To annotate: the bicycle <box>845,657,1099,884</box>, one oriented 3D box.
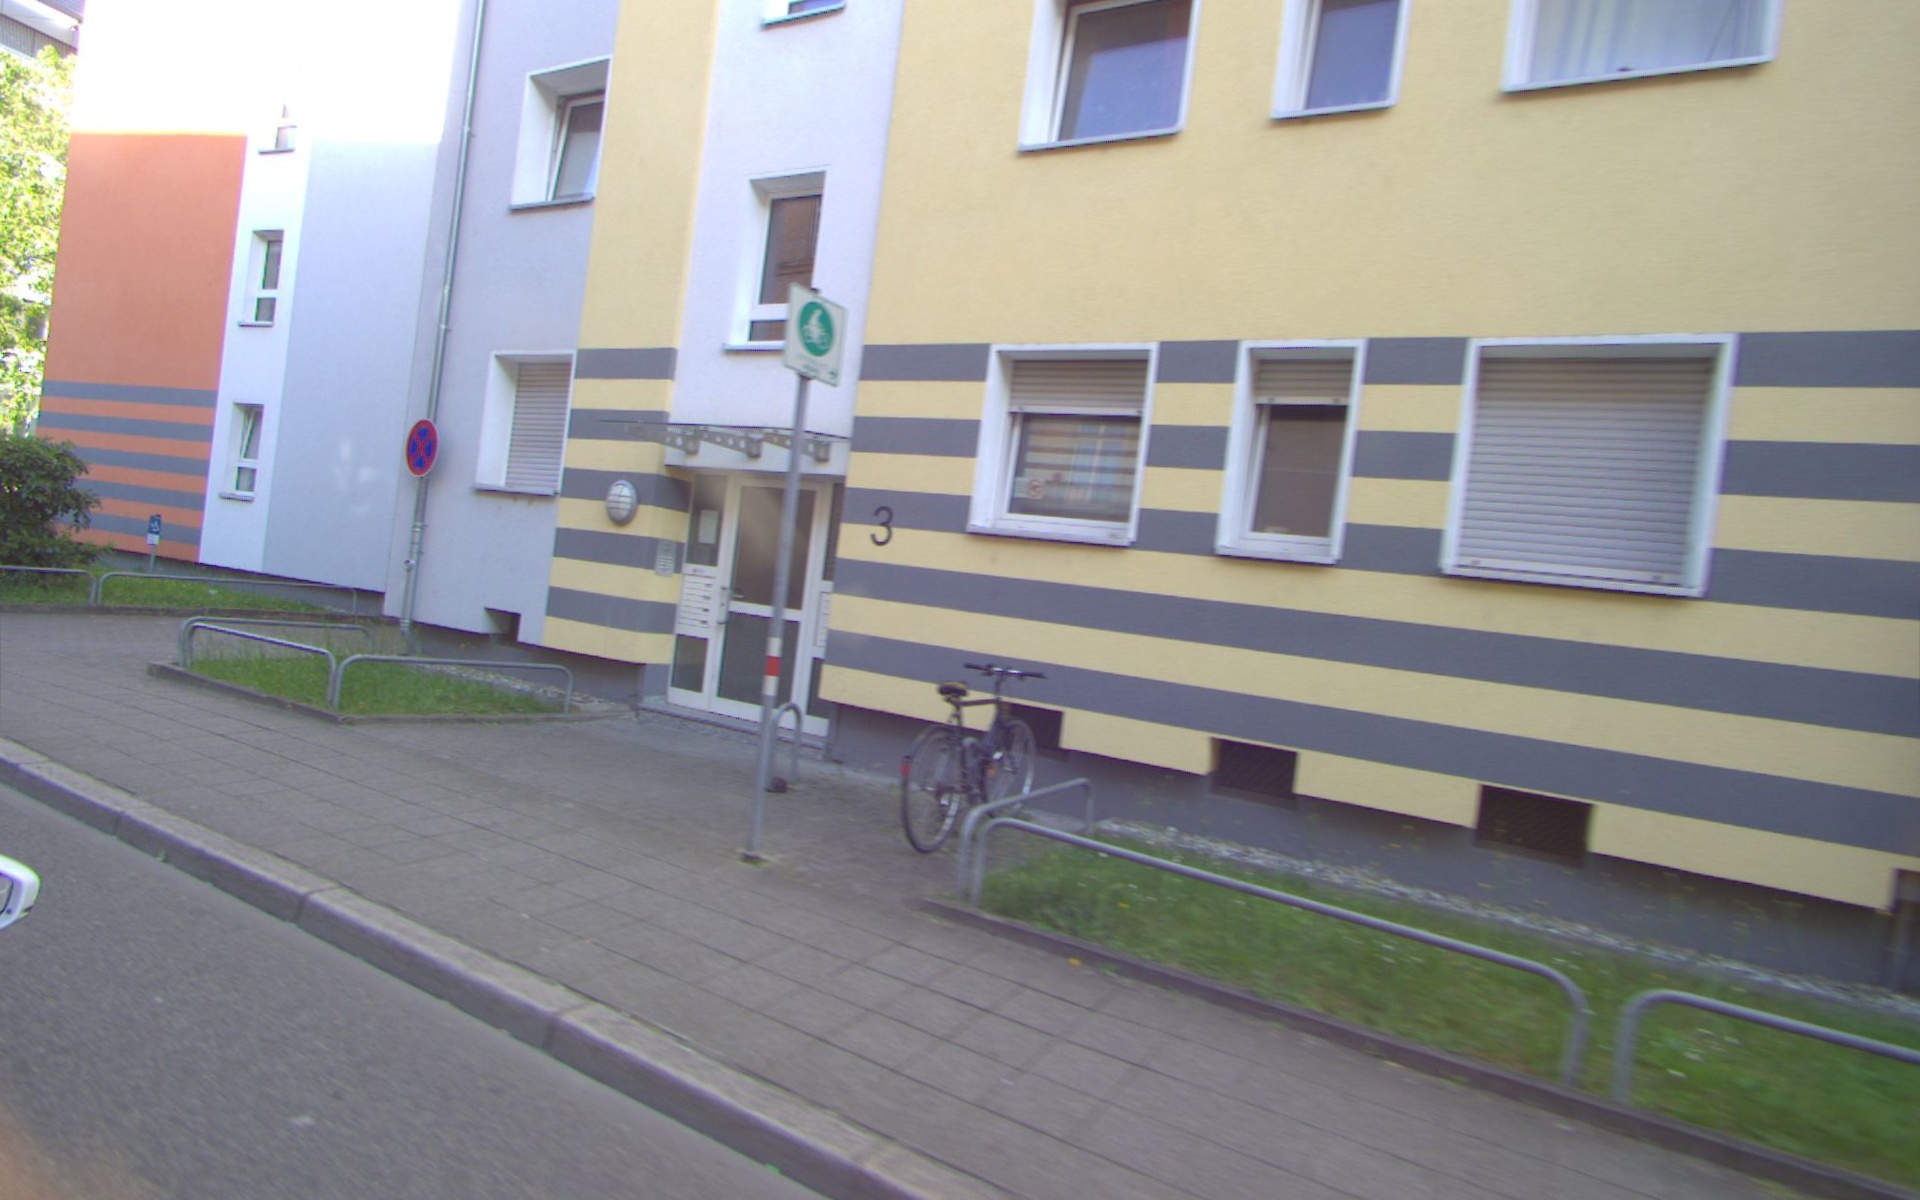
[{"bbox_3d":[0.162,0.922,6.094,0.625,1.074,1.946,7,1,27],"label":"bicycle"}]
